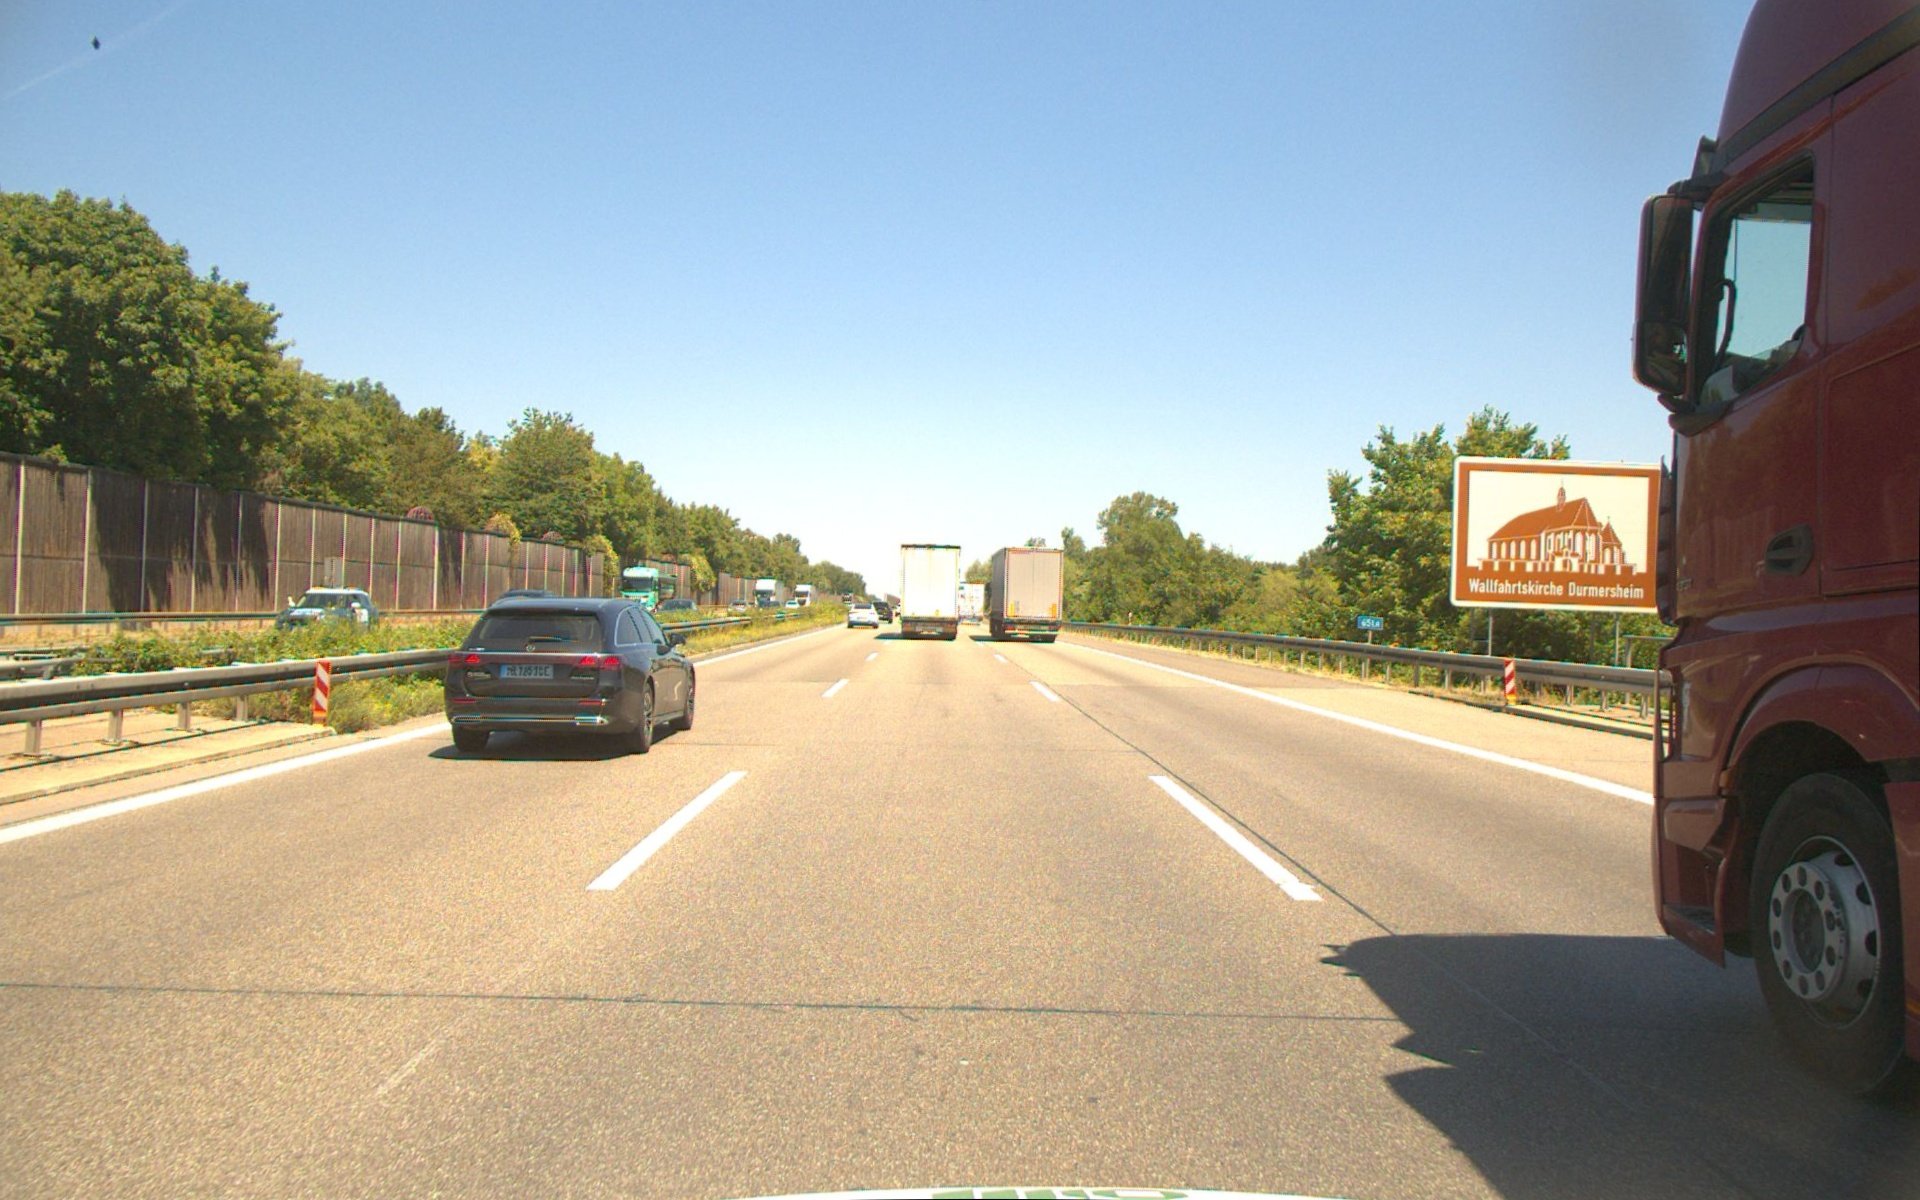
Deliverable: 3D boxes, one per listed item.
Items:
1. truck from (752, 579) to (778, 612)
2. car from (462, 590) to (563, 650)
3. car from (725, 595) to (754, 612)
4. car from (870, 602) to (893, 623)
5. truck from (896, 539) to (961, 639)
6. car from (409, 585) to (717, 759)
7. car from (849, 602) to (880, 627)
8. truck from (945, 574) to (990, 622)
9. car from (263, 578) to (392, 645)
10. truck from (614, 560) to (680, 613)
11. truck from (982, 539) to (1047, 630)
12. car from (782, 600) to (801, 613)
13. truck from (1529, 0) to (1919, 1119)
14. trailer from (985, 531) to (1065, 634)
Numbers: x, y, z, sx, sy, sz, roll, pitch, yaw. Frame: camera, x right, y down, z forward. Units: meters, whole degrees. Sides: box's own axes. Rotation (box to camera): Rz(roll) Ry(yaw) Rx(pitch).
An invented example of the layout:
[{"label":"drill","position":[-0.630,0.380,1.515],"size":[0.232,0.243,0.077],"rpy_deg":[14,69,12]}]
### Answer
[{"label":"truck","position":[-25.364,-0.542,215.240],"size":[2.702,4.092,6.731],"rpy_deg":[2,0,-2]},{"label":"car","position":[-13.871,0.601,51.526],"size":[1.953,1.750,4.531],"rpy_deg":[1,0,-1]},{"label":"car","position":[-19.315,0.325,145.236],"size":[1.826,1.466,5.085],"rpy_deg":[1,0,0]},{"label":"car","position":[-6.376,1.028,133.713],"size":[1.818,1.645,3.997],"rpy_deg":[1,0,-3]},{"label":"truck","position":[-1.566,-0.452,76.785],"size":[2.652,4.157,13.468],"rpy_deg":[2,0,-2]},{"label":"car","position":[-3.959,0.628,17.628],"size":[1.904,1.533,5.820],"rpy_deg":[1,0,0]},{"label":"car","position":[-5.845,0.871,100.855],"size":[1.818,1.512,3.997],"rpy_deg":[1,0,-4]},{"label":"truck","position":[0.647,-0.186,164.246],"size":[3.308,4.378,11.439],"rpy_deg":[4,0,-4]},{"label":"car","position":[-17.738,0.314,46.647],"size":[1.953,1.750,4.531],"rpy_deg":[1,0,-1]},{"label":"truck","position":[-23.655,-0.974,125.699],"size":[3.027,3.739,12.363],"rpy_deg":[1,0,-2]},{"label":"truck","position":[2.654,-0.734,82.789],"size":[2.637,4.289,7.835],"rpy_deg":[2,0,-2]},{"label":"car","position":[-21.031,0.775,206.961],"size":[1.953,1.618,4.491],"rpy_deg":[1,0,-1]},{"label":"truck","position":[3.981,-0.640,4.116],"size":[2.652,4.160,6.963],"rpy_deg":[1,0,0]},{"label":"trailer","position":[2.853,-0.733,76.561],"size":[2.649,4.289,13.206],"rpy_deg":[2,0,-2]}]
